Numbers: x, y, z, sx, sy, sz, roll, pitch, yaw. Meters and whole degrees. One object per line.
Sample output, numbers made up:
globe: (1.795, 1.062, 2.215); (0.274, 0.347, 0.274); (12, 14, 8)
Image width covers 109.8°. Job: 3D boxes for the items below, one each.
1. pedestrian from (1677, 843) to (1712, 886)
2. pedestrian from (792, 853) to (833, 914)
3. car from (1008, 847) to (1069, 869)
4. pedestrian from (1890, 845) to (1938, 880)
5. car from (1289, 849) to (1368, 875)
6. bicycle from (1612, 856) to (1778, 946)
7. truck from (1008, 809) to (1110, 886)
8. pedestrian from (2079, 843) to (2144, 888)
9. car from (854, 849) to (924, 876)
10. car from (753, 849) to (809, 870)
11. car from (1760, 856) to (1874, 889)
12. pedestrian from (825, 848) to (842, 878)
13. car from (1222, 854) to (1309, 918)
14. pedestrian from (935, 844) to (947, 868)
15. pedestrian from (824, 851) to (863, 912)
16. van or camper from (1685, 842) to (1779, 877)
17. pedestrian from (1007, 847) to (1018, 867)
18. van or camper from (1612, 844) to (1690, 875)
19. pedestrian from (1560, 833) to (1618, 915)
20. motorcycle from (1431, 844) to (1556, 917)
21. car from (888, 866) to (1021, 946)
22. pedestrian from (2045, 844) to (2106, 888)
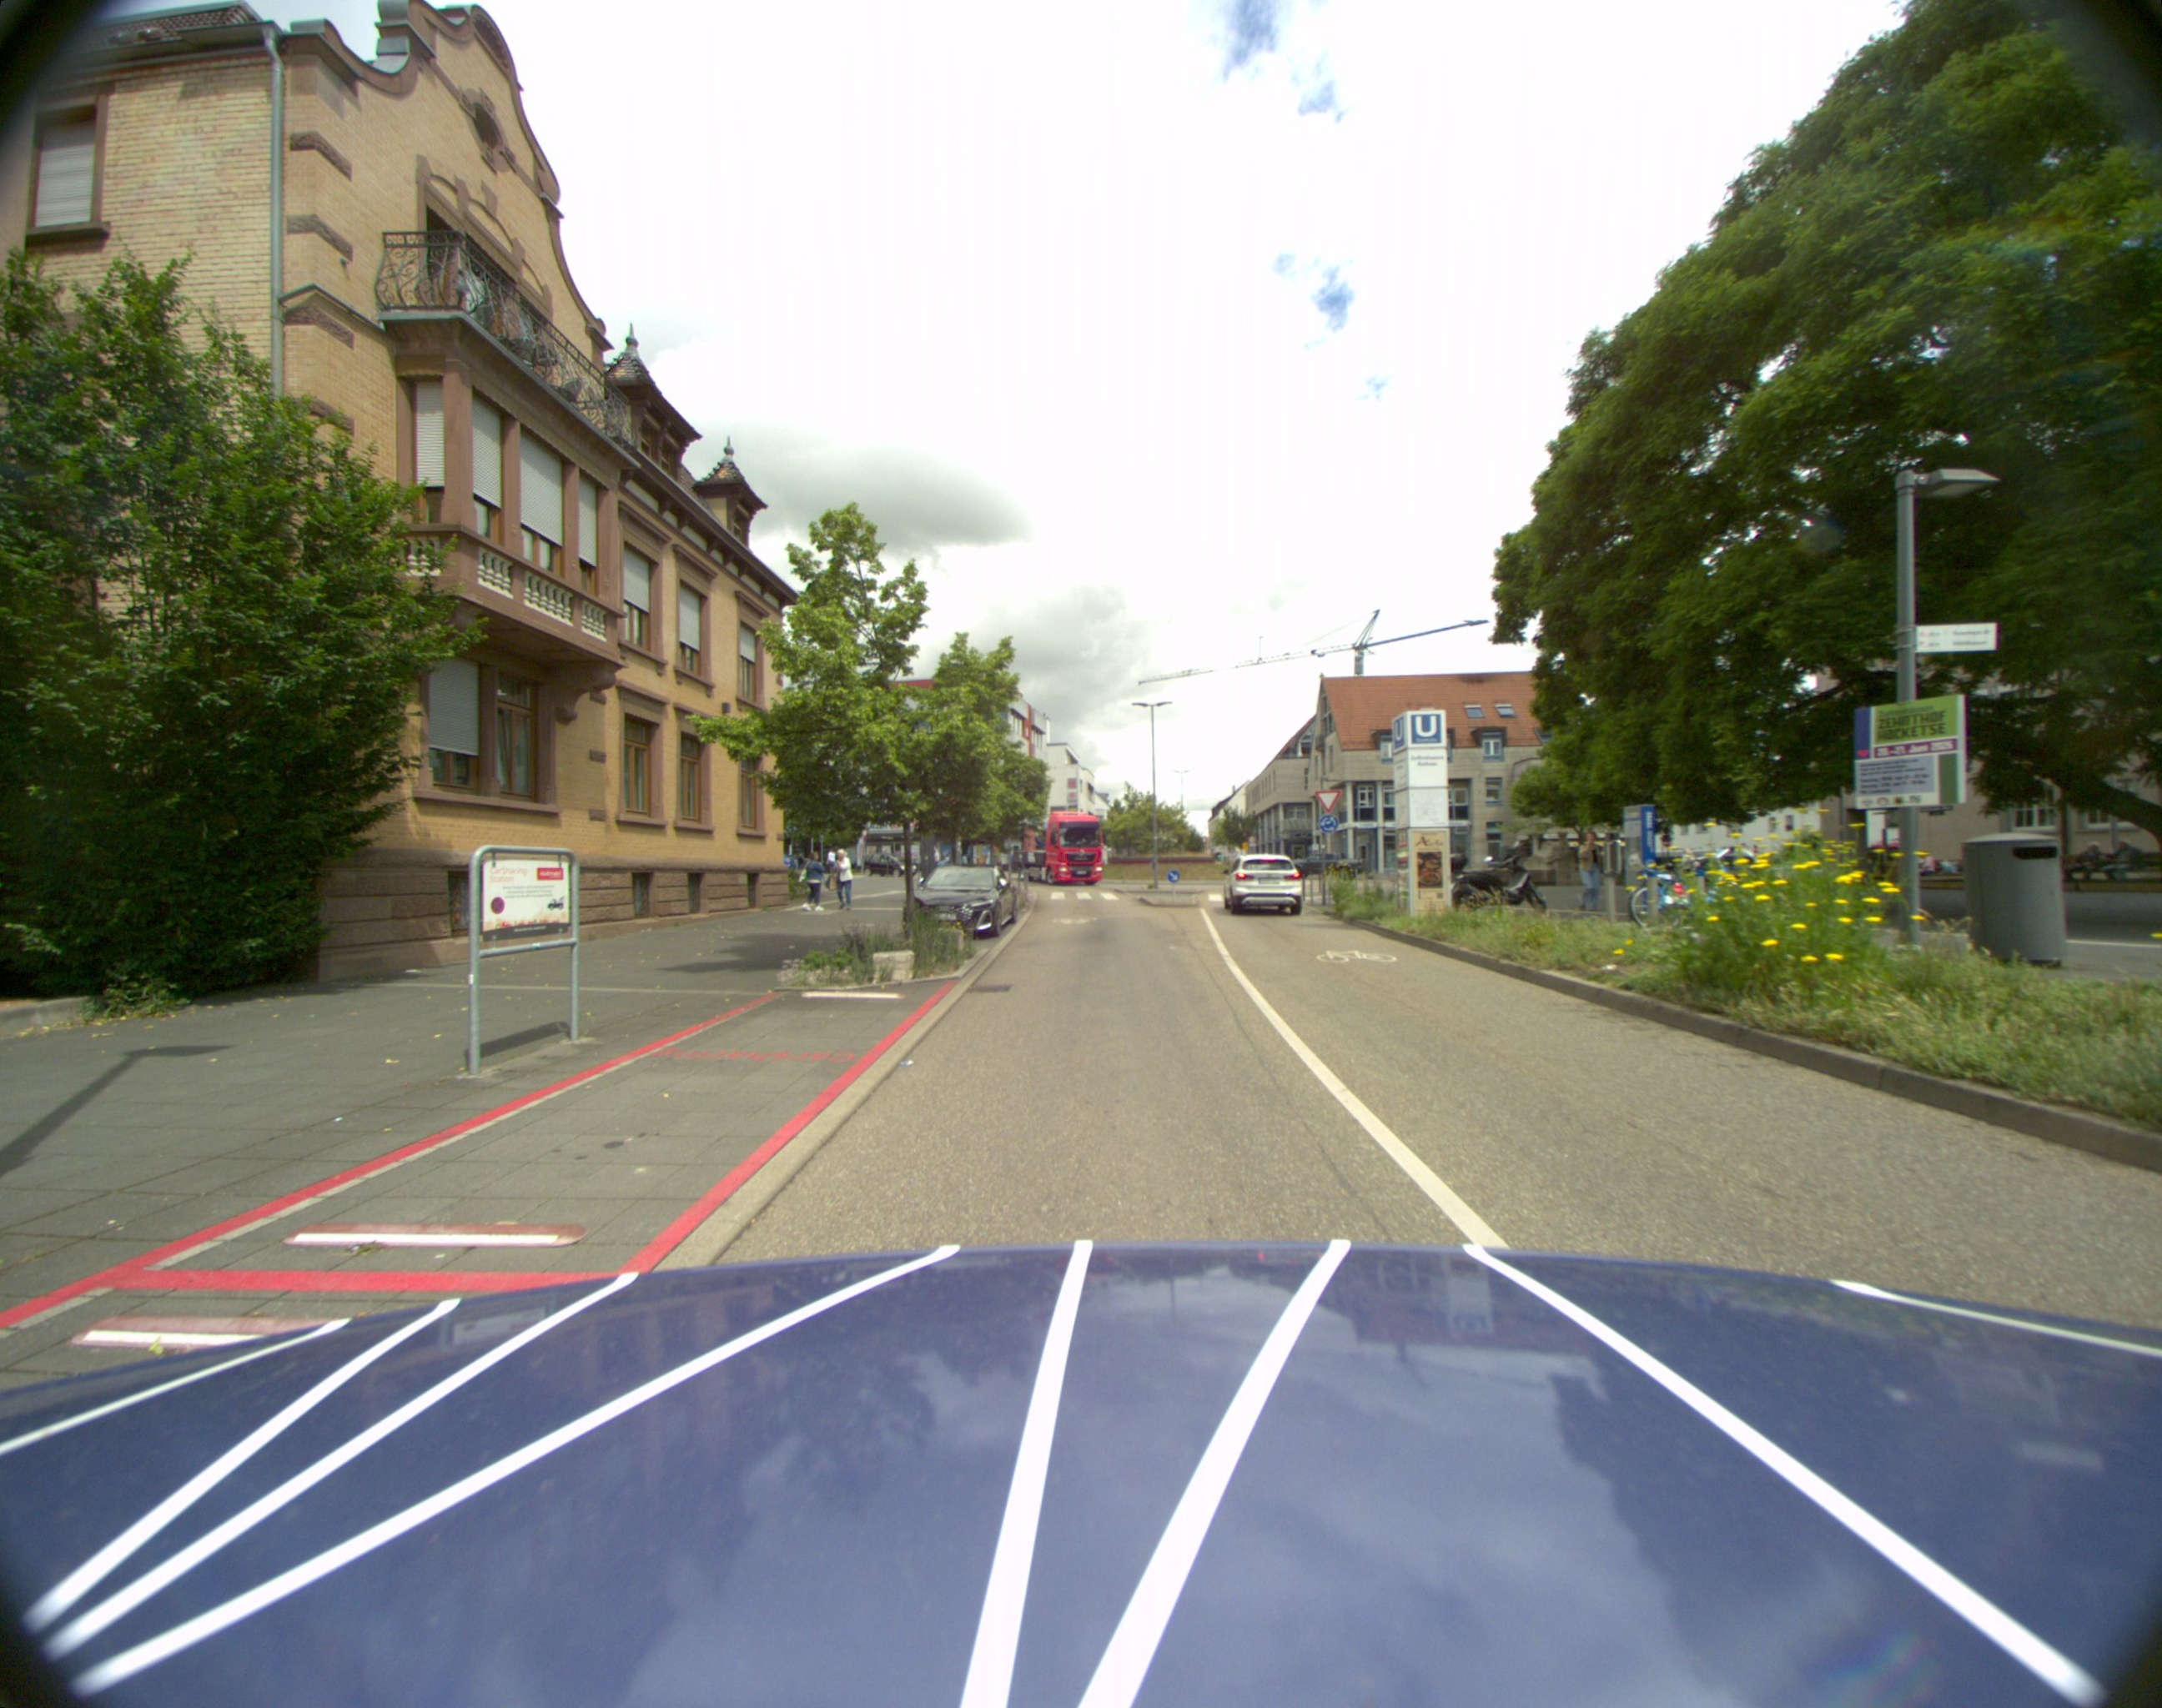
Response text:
pedestrian: (24.594, 0.432, 30.469); (0.690, 1.665, 0.817); (-1, -1, -2)
pedestrian: (-7.382, 0.798, 20.872); (0.738, 1.630, 0.676); (-1, 2, 26)
car: (-3.024, 0.277, 54.768); (4.061, 1.391, 1.812); (-3, 1, -38)
pedestrian: (28.300, 0.299, 25.819); (0.817, 1.168, 0.691); (-1, -1, -3)
car: (16.976, 0.559, 52.118); (4.879, 1.644, 1.749); (-1, 1, 29)
bicycle: (7.713, 0.586, 9.579); (1.691, 1.075, 0.515); (-1, -2, -3)
truck: (-1.582, -0.382, 43.551); (2.685, 3.821, 10.830); (-2, 1, -18)
pedestrian: (28.527, 0.323, 21.044); (0.817, 1.219, 0.691); (-1, -1, -3)
car: (-12.826, 0.540, 50.949); (3.995, 1.641, 2.001); (-2, 0, 7)
car: (-24.584, 0.414, 62.233); (3.825, 1.554, 1.820); (-2, 1, 11)
car: (38.660, 0.948, 39.989); (4.070, 1.530, 1.747); (-2, 1, 9)
pedestrian: (-14.816, 0.521, 45.461); (0.768, 1.721, 0.751); (-3, 2, -31)
car: (4.993, 0.800, 21.104); (1.826, 1.575, 4.167); (1, 0, 6)
pedestrian: (-11.583, 0.172, 62.843); (0.684, 1.902, 0.767); (-2, 1, 10)
pedestrian: (-6.691, 0.767, 21.446); (0.697, 1.649, 0.741); (-2, 1, 12)
van or camper: (46.550, 0.401, 54.456); (2.002, 2.368, 4.667); (-1, 0, -23)
pedestrian: (-5.656, 0.245, 62.816); (0.684, 1.585, 0.767); (-2, 1, 10)
van or camper: (46.226, 0.449, 61.766); (2.002, 2.368, 4.667); (-1, 0, -23)
pedestrian: (10.346, 0.406, 15.493); (0.661, 1.619, 0.800); (-2, -1, 9)
motorcycle: (8.403, 0.528, 15.537); (2.194, 1.441, 0.648); (0, 1, 0)
car: (-2.557, 1.023, 16.635); (1.998, 1.405, 4.736); (-1, 0, 1)
pedestrian: (28.506, 0.349, 21.796); (0.817, 1.219, 0.691); (-1, -1, -3)
